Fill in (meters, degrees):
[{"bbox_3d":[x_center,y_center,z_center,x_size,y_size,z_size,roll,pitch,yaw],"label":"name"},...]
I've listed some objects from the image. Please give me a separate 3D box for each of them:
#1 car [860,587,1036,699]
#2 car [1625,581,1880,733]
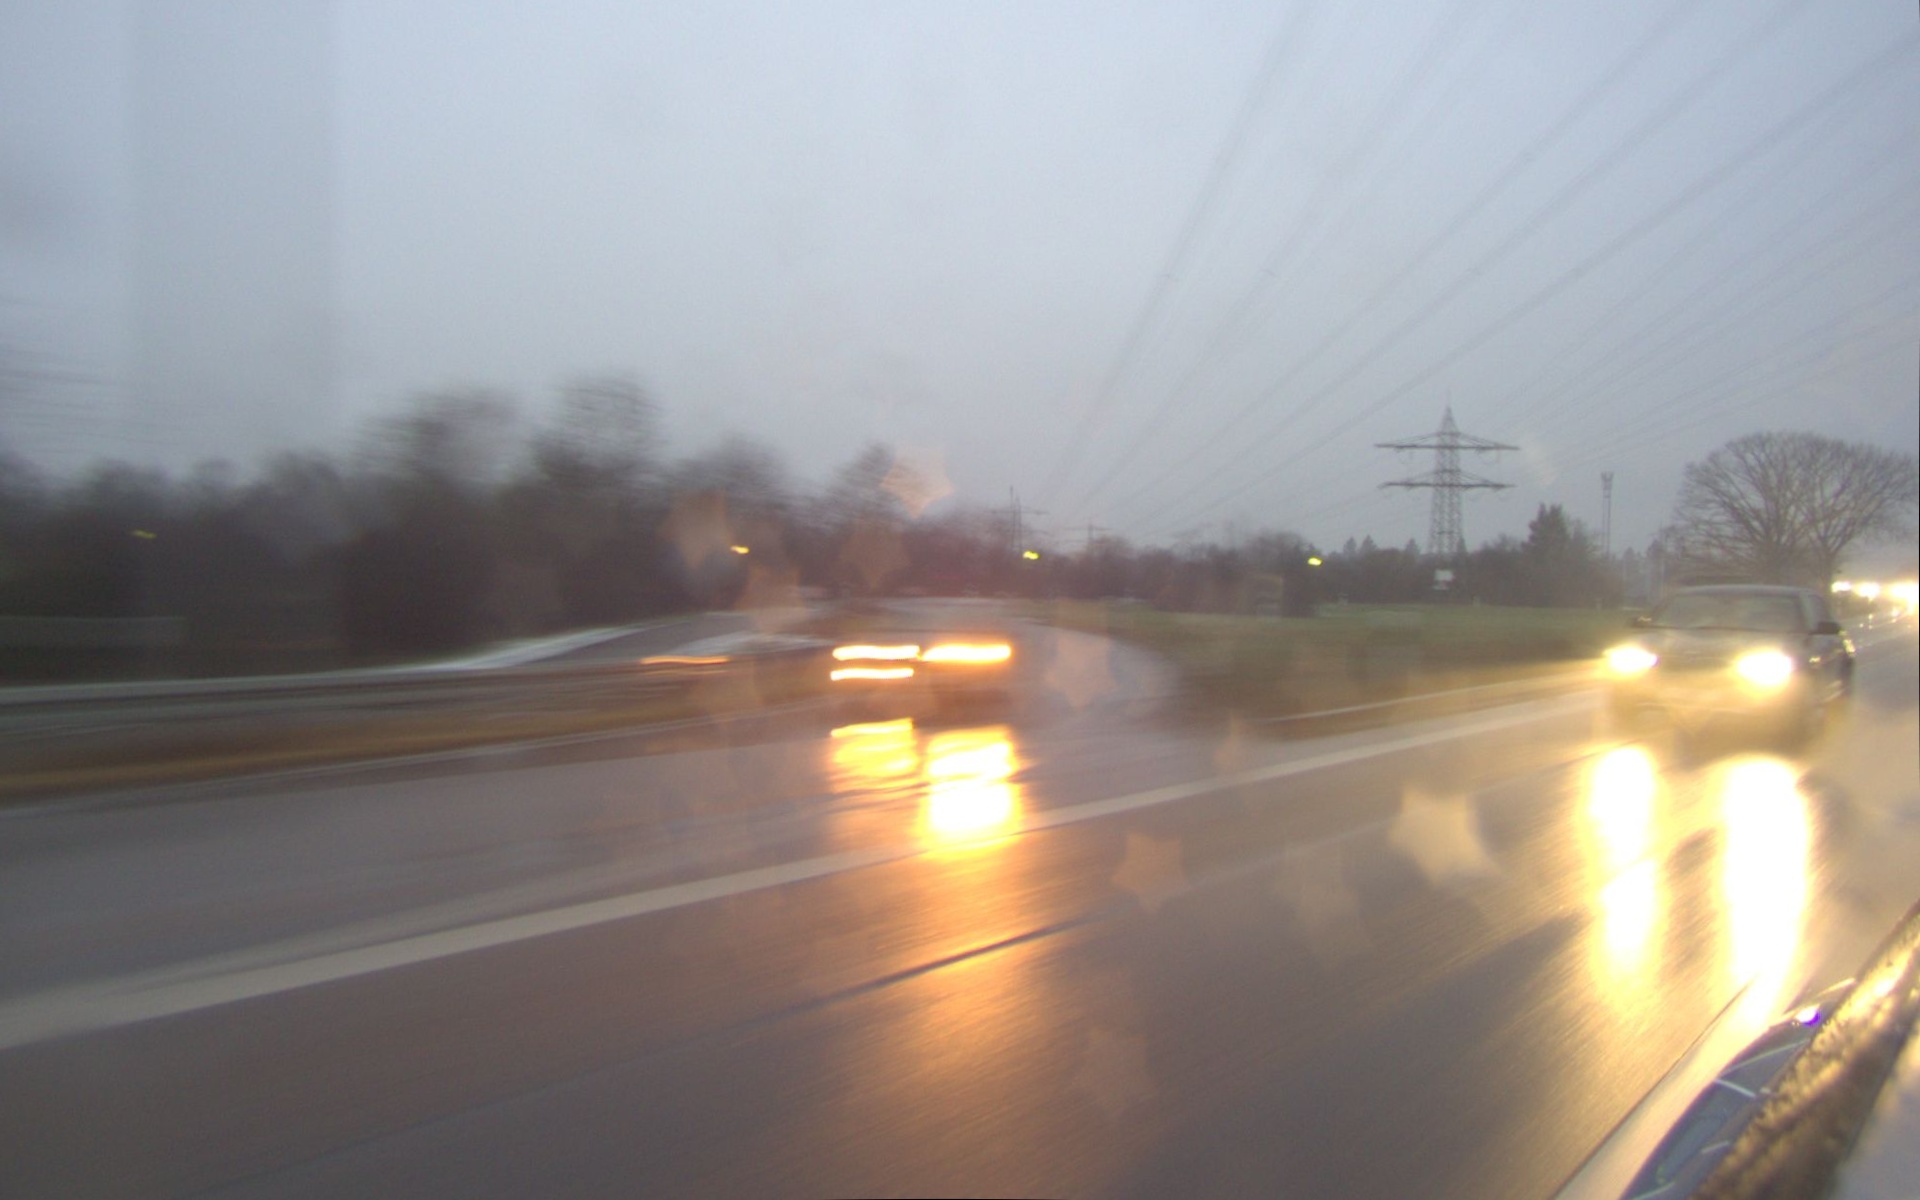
[{"bbox_3d":[-0.048,0.546,15.429,1.767,1.452,3.804,1,1,14],"label":"car"},{"bbox_3d":[9.548,0.564,12.098,3.741,1.528,1.681,0,1,-40],"label":"car"}]
